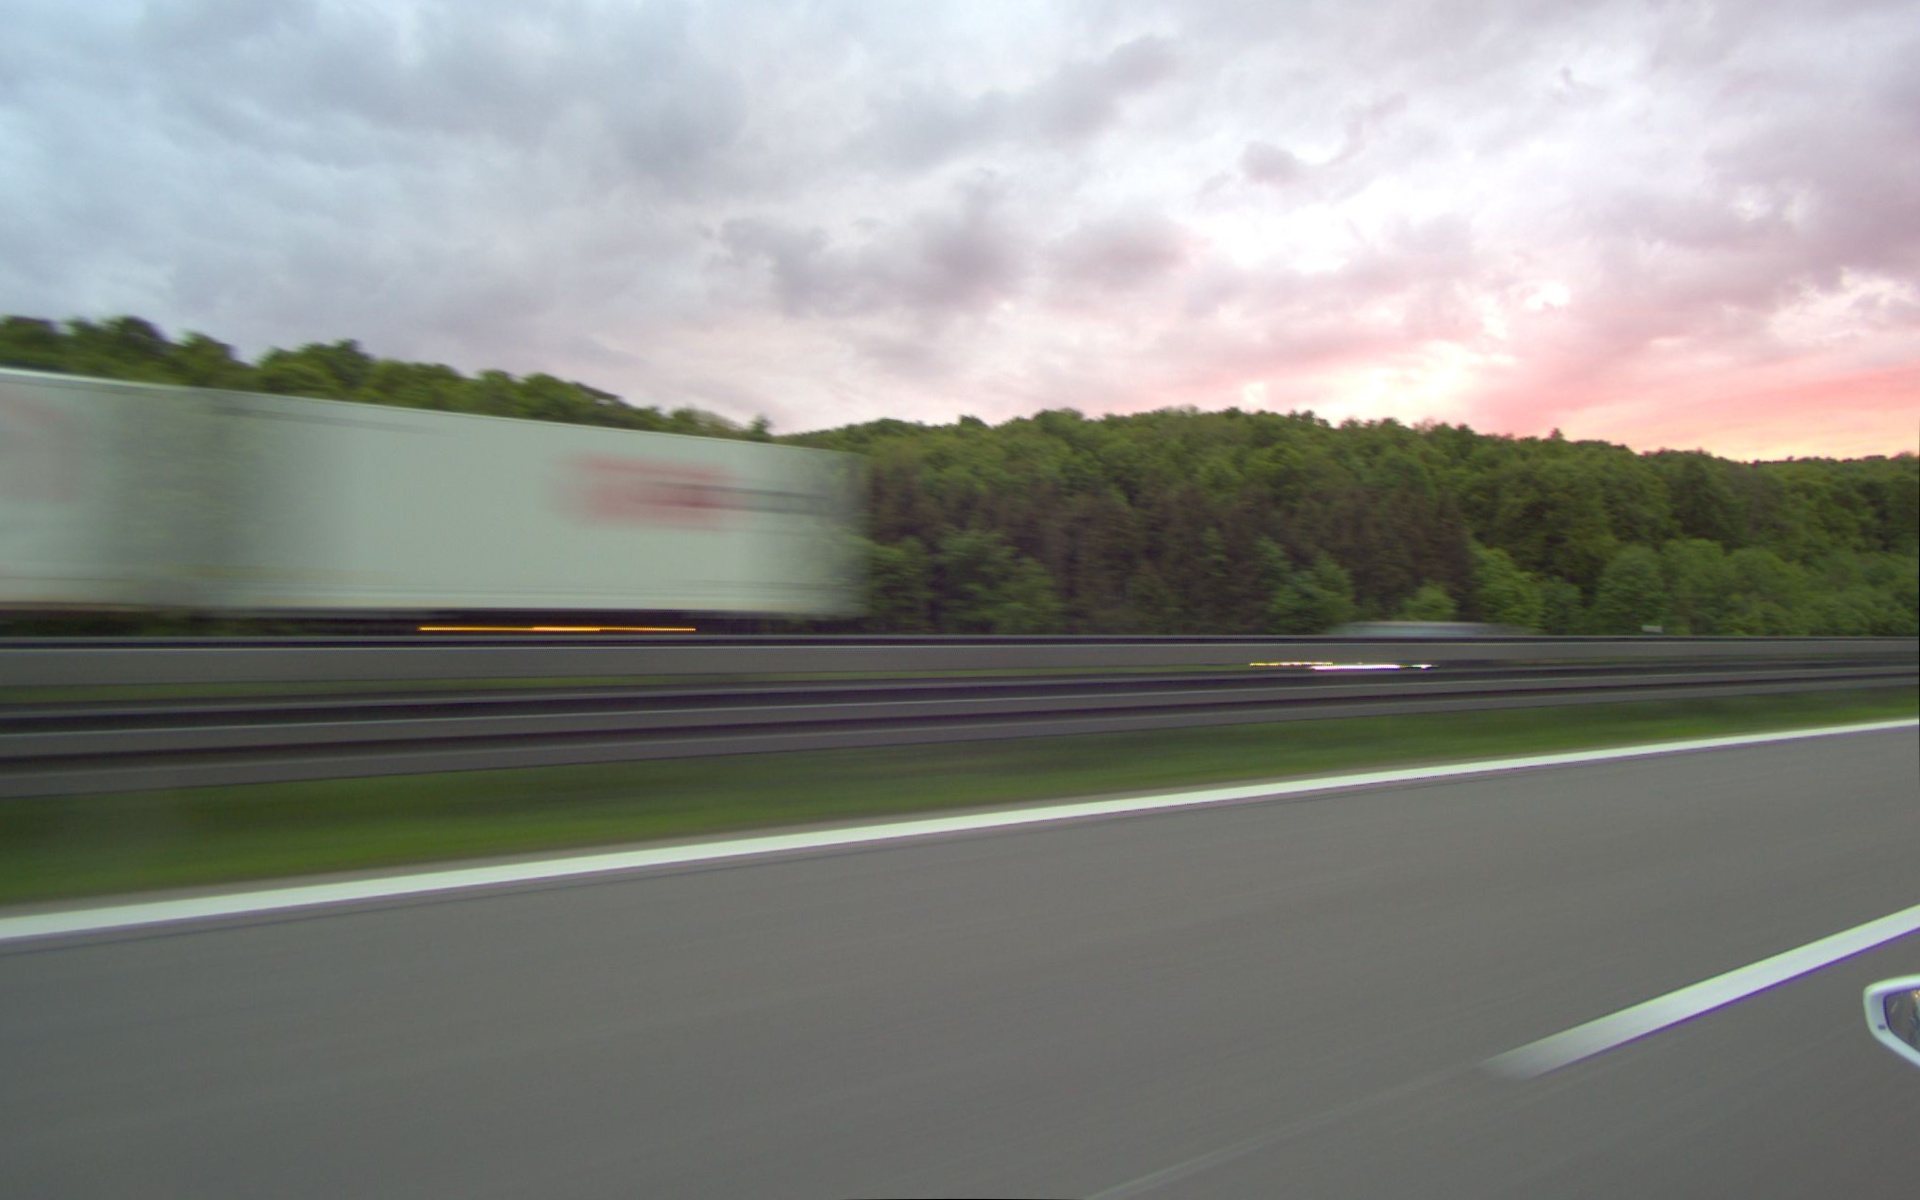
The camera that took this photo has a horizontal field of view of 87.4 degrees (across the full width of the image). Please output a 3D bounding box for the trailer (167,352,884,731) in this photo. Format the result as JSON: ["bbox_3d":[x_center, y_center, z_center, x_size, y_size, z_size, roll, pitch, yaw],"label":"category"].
[{"bbox_3d":[-5.909,-0.582,15.220,9.187,4.374,2.817,1,-1,-31],"label":"trailer"}]

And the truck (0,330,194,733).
[{"bbox_3d":[-14.243,-0.803,10.154,9.948,4.338,2.851,1,-1,-31],"label":"truck"}]

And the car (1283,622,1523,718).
[{"bbox_3d":[8.077,1.222,18.212,4.412,1.555,1.648,1,-3,-29],"label":"car"}]
